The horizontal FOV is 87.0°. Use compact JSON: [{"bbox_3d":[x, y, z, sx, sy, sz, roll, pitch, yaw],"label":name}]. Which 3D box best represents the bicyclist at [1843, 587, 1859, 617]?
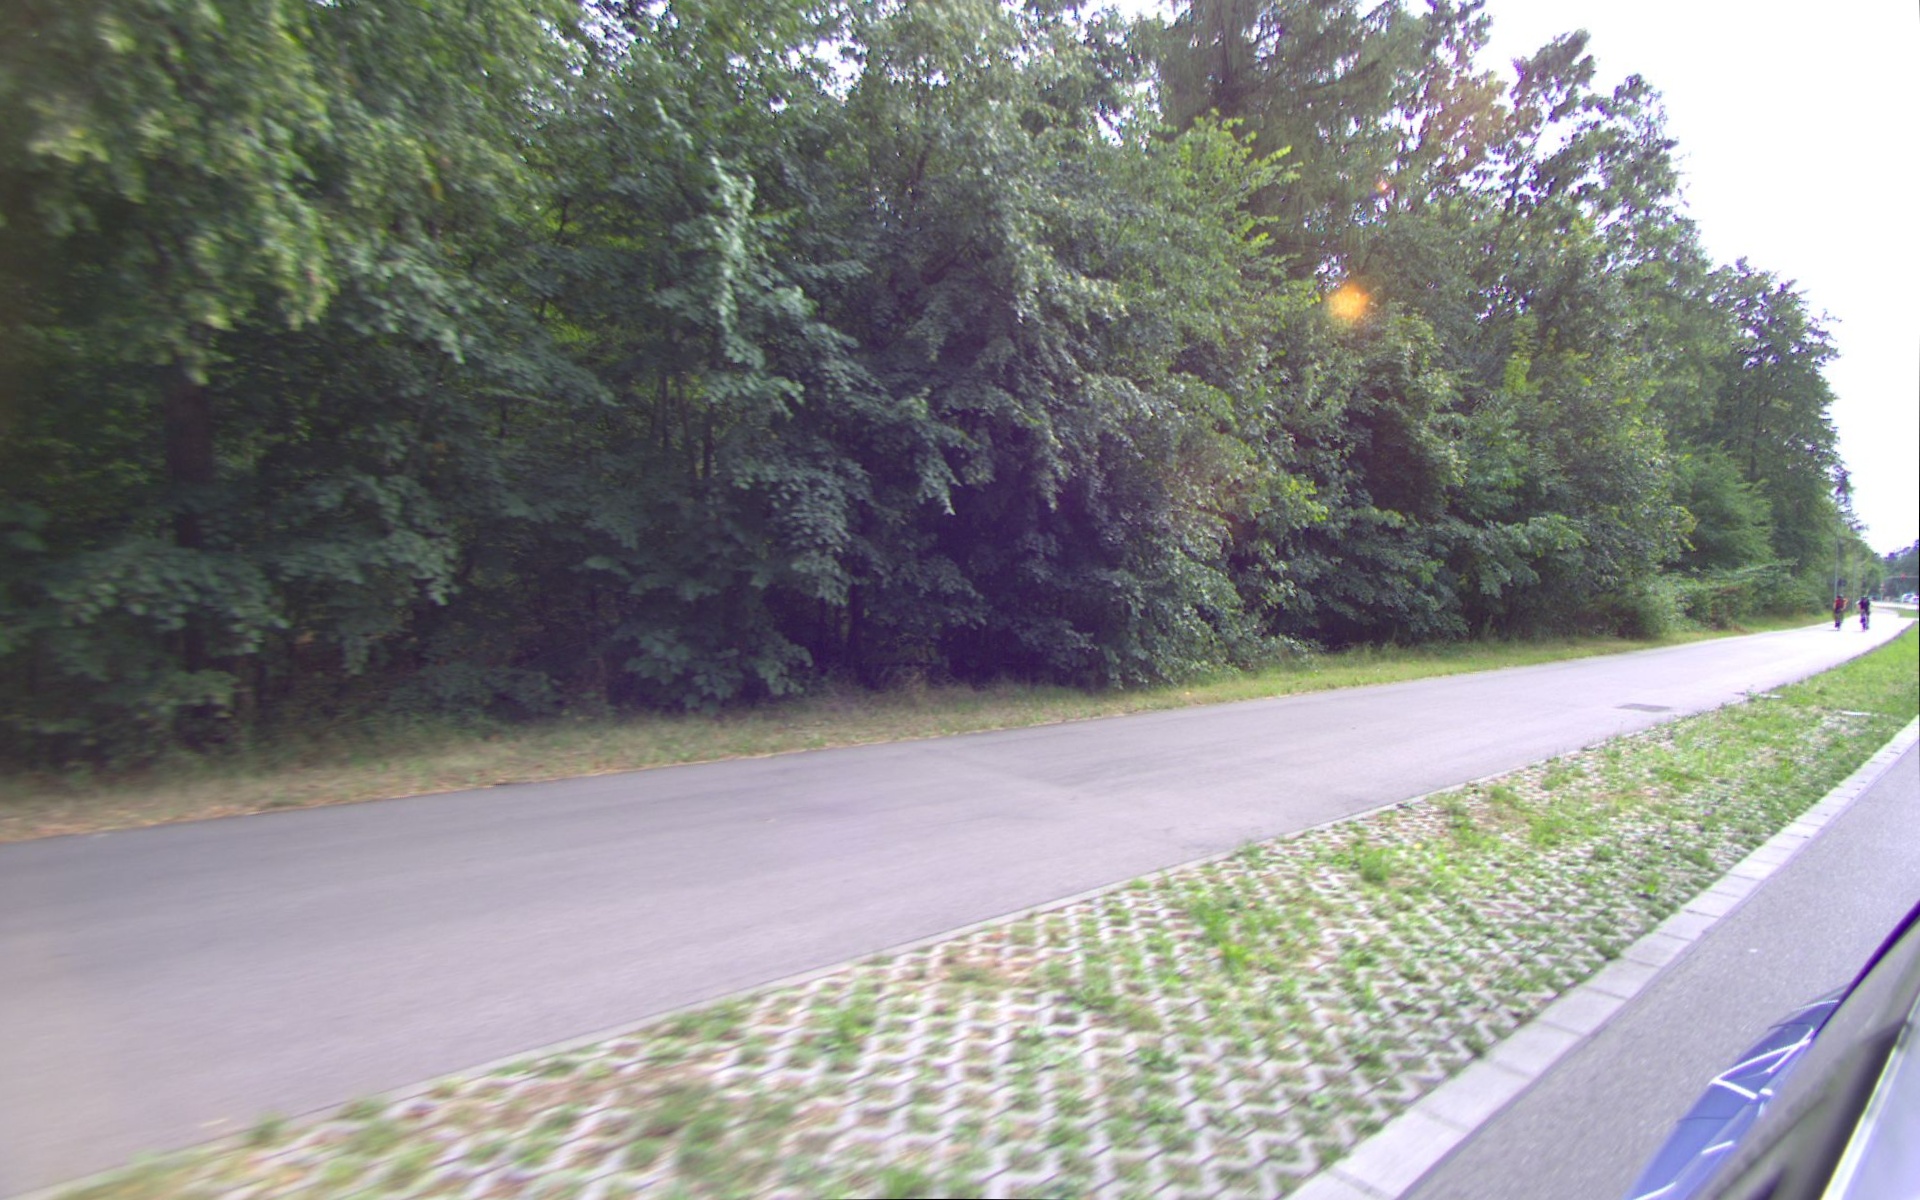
[{"bbox_3d":[42.696,0.086,48.503,0.519,1.433,1.168,-1,0,43],"label":"bicyclist"}]

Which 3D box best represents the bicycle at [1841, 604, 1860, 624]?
[{"bbox_3d":[42.661,0.667,48.477,0.566,0.923,1.858,5,3,43],"label":"bicycle"}]

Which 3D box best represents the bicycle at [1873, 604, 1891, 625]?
[{"bbox_3d":[43.523,0.668,47.780,0.566,0.923,1.727,4,4,43],"label":"bicycle"}]

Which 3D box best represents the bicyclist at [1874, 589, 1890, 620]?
[{"bbox_3d":[43.538,0.200,47.771,0.520,1.433,1.168,2,2,43],"label":"bicyclist"}]
